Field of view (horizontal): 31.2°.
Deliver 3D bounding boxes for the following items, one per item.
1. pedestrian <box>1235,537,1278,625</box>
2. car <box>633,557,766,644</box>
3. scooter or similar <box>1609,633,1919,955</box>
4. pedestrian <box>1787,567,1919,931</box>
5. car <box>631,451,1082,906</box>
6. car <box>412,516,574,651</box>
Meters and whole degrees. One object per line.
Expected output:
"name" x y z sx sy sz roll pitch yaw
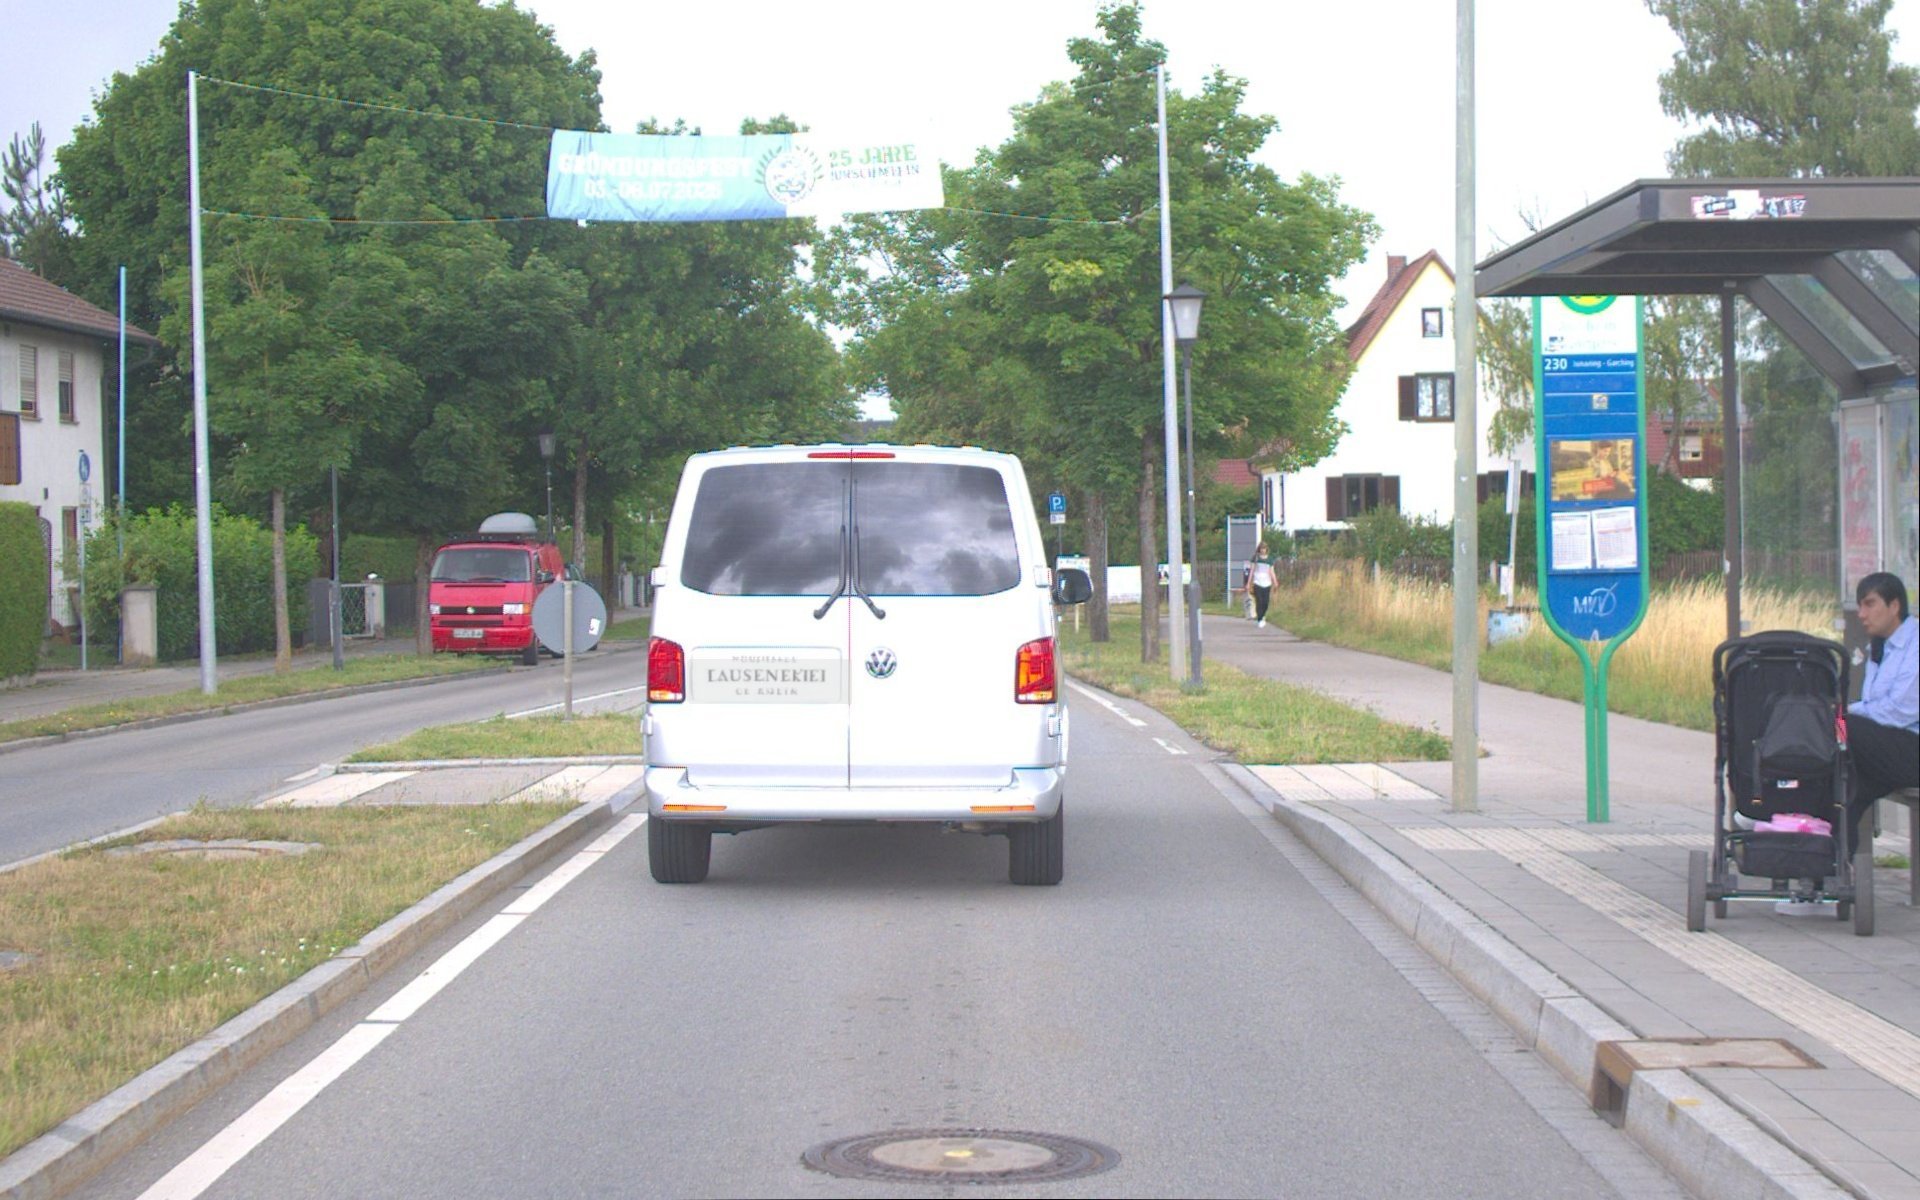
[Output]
"pedestrian" 5.913 -0.377 68.539 0.837 1.749 0.869 0 1 5
"car" -4.698 -0.014 62.619 1.920 1.448 4.496 -1 1 2
"scooter or similar" 2.859 0.657 12.155 0.708 1.058 1.058 1 0 37
"pedestrian" 3.401 0.533 12.586 0.665 1.298 0.505 1 0 9
"car" -0.465 0.313 16.433 1.888 1.905 4.000 0 0 -1
"car" -7.352 -0.296 54.502 1.830 2.023 5.046 1 1 0
